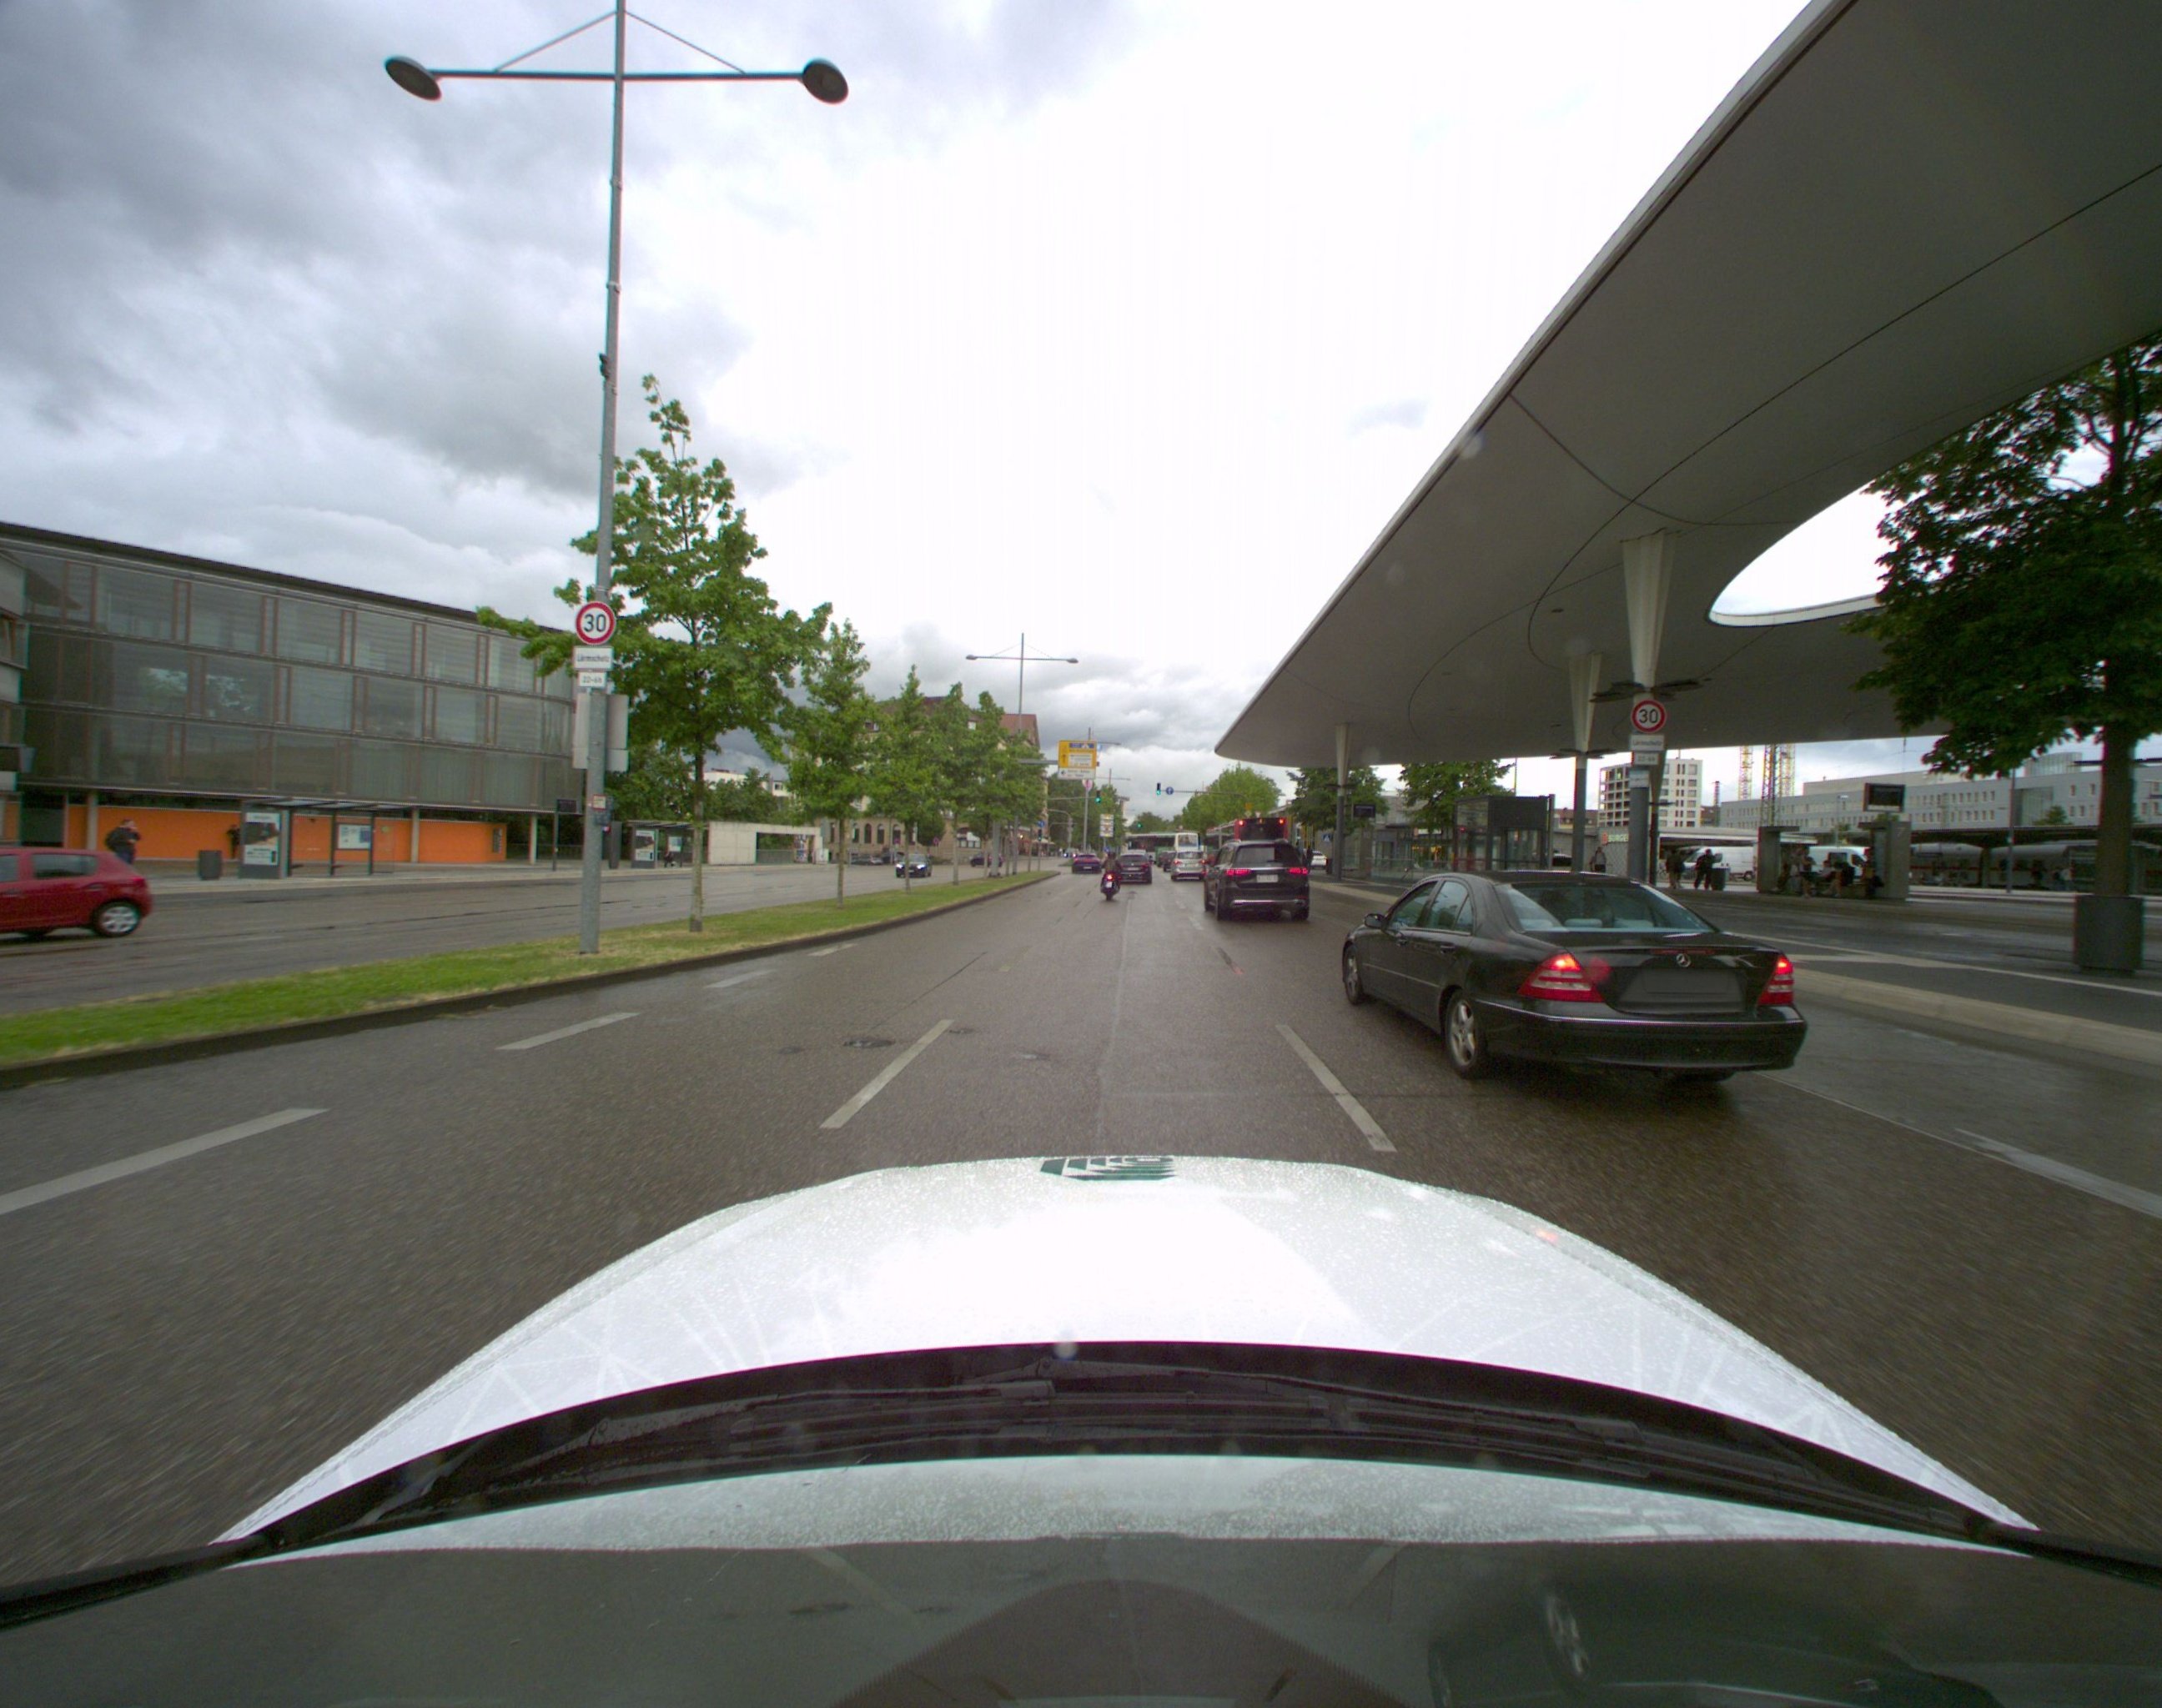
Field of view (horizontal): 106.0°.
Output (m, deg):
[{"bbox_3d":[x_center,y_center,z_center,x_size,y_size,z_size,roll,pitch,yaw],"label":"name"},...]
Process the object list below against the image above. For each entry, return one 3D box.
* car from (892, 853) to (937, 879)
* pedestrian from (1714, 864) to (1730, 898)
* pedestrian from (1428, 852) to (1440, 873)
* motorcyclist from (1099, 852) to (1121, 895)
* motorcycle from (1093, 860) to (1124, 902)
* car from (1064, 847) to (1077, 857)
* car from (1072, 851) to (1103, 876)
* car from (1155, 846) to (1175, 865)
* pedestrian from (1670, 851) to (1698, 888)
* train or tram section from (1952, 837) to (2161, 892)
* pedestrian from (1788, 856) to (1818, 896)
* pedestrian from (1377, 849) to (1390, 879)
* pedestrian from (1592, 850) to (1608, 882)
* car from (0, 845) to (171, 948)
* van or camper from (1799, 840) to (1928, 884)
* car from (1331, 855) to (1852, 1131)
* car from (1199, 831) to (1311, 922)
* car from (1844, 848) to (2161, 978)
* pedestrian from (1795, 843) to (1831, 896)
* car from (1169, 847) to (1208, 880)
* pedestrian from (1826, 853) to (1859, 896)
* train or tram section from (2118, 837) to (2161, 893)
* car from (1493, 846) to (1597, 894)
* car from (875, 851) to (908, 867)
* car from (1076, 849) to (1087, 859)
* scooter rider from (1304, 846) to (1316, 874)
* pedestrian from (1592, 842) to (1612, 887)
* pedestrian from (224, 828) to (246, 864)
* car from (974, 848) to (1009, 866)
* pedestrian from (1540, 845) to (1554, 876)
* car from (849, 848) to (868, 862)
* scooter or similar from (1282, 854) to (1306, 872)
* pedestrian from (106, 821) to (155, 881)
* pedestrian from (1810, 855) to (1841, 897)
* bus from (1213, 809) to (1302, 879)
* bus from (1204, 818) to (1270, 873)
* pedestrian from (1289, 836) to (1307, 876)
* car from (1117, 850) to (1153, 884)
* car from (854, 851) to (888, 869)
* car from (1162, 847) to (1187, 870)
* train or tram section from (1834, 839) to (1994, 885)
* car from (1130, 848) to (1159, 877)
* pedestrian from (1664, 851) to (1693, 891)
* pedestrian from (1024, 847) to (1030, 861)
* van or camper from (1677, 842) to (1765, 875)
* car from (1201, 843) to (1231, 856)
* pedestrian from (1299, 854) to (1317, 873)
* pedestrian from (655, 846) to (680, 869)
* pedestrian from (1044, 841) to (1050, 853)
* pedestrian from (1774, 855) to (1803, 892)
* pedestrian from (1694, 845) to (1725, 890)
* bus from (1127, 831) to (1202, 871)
[{"bbox_3d":[-10.330,0.701,50.815,1.674,1.528,4.641,0,0,2],"label":"car"},{"bbox_3d":[26.686,1.123,33.905,0.469,1.391,0.564,2,-4,39],"label":"pedestrian"},{"bbox_3d":[27.537,0.684,63.516,0.601,1.578,0.675,4,-3,10],"label":"pedestrian"},{"bbox_3d":[0.923,0.621,26.052,0.638,1.347,0.690,0,0,7],"label":"motorcyclist"},{"bbox_3d":[0.876,0.823,25.805,0.789,1.262,1.859,-1,0,7],"label":"motorcycle"},{"bbox_3d":[-1.664,-0.285,130.006,1.772,1.567,3.433,-1,0,4],"label":"car"},{"bbox_3d":[0.469,0.589,54.720,1.808,1.570,4.408,-1,0,4],"label":"car"},{"bbox_3d":[7.205,0.122,69.979,1.568,1.567,3.800,-1,0,4],"label":"car"},{"bbox_3d":[26.550,0.688,35.861,0.582,1.578,0.766,6,-4,-28],"label":"pedestrian"},{"bbox_3d":[75.192,0.723,63.177,3.118,3.680,11.626,4,1,3],"label":"train or tram section"},{"bbox_3d":[26.146,0.796,29.491,0.558,1.444,0.613,1,-1,0],"label":"pedestrian"},{"bbox_3d":[16.680,0.556,44.858,0.569,1.678,0.586,0,-1,30],"label":"pedestrian"},{"bbox_3d":[26.731,0.620,41.943,0.574,1.578,0.564,2,-4,39],"label":"pedestrian"},{"bbox_3d":[-17.143,0.637,12.408,1.814,1.552,4.038,0,0,5],"label":"car"},{"bbox_3d":[48.281,0.481,50.501,2.085,2.508,6.216,1,0,0],"label":"van or camper"},{"bbox_3d":[3.439,0.764,6.598,1.691,1.462,4.307,0,0,3],"label":"car"},{"bbox_3d":[4.037,0.466,19.704,1.949,1.876,4.879,-1,0,4],"label":"car"},{"bbox_3d":[12.470,0.669,10.841,1.641,1.453,3.239,1,0,2],"label":"car"},{"bbox_3d":[23.574,0.490,26.224,0.559,1.692,0.613,2,0,-3],"label":"pedestrian"},{"bbox_3d":[5.495,0.458,42.006,1.733,1.567,3.875,-1,0,4],"label":"car"},{"bbox_3d":[25.896,0.679,27.695,0.558,1.444,0.636,1,-1,0],"label":"pedestrian"},{"bbox_3d":[74.479,0.795,51.564,3.118,3.678,11.626,4,0,3],"label":"train or tram section"},{"bbox_3d":[17.557,0.559,31.042,1.705,1.662,4.243,2,0,3],"label":"car"},{"bbox_3d":[-21.990,0.542,94.346,2.130,1.776,4.342,0,0,-38],"label":"car"},{"bbox_3d":[0.071,-0.016,136.291,1.568,1.567,3.433,-1,0,4],"label":"car"},{"bbox_3d":[12.741,0.333,45.247,0.587,1.490,0.768,1,-1,17],"label":"scooter rider"},{"bbox_3d":[24.504,0.505,38.304,0.716,2.014,0.674,3,-4,30],"label":"pedestrian"},{"bbox_3d":[-40.182,-0.387,38.701,0.469,1.684,0.647,0,0,34],"label":"pedestrian"},{"bbox_3d":[-8.528,0.302,77.251,1.848,1.627,3.669,1,0,-31],"label":"car"},{"bbox_3d":[24.526,0.324,42.861,0.574,1.578,0.564,2,-4,33],"label":"pedestrian"},{"bbox_3d":[-28.691,0.122,104.836,1.667,1.604,3.224,-3,2,-27],"label":"car"},{"bbox_3d":[11.913,0.501,45.472,1.233,1.013,0.767,1,-1,17],"label":"scooter or similar"},{"bbox_3d":[-27.185,-0.081,23.308,0.471,1.684,0.765,0,0,10],"label":"pedestrian"},{"bbox_3d":[26.266,0.764,28.730,0.558,1.444,0.613,1,-1,0],"label":"pedestrian"},{"bbox_3d":[9.174,-0.494,43.637,3.271,3.292,10.892,0,0,5],"label":"bus"},{"bbox_3d":[9.938,-0.538,52.942,3.276,3.289,8.860,0,0,5],"label":"bus"},{"bbox_3d":[11.177,0.106,41.949,0.772,2.013,0.785,4,1,16],"label":"pedestrian"},{"bbox_3d":[2.604,0.559,38.711,1.568,1.504,3.876,-1,0,5],"label":"car"},{"bbox_3d":[-23.551,0.656,91.304,1.881,1.684,3.952,6,-3,-42],"label":"car"},{"bbox_3d":[6.636,0.303,58.035,1.568,1.567,3.875,-1,0,4],"label":"car"},{"bbox_3d":[75.856,0.669,74.743,3.118,3.659,11.626,4,1,3],"label":"train or tram section"},{"bbox_3d":[3.627,0.448,46.844,1.568,1.567,3.875,-1,0,4],"label":"car"},{"bbox_3d":[23.900,0.680,32.570,0.597,1.582,0.710,2,-2,-5],"label":"pedestrian"},{"bbox_3d":[-7.933,0.031,119.692,0.727,2.013,0.820,0,0,-23],"label":"pedestrian"},{"bbox_3d":[45.764,0.301,58.275,4.671,2.269,2.110,1,0,-1],"label":"van or camper"},{"bbox_3d":[16.985,-0.581,102.684,1.587,1.567,3.755,-1,0,-35],"label":"car"},{"bbox_3d":[12.606,0.528,45.261,0.906,0.985,0.636,2,-4,17],"label":"pedestrian"},{"bbox_3d":[-24.990,0.216,49.247,0.967,1.267,0.854,5,1,24],"label":"pedestrian"},{"bbox_3d":[-5.732,-1.123,137.252,0.727,1.965,0.820,0,0,-23],"label":"pedestrian"},{"bbox_3d":[26.208,0.706,30.170,0.558,1.361,0.613,1,-1,0],"label":"pedestrian"},{"bbox_3d":[25.387,0.537,32.882,0.704,1.707,0.771,-3,2,16],"label":"pedestrian"},{"bbox_3d":[8.566,-0.287,85.598,2.848,3.988,11.779,1,0,-21],"label":"bus"}]
